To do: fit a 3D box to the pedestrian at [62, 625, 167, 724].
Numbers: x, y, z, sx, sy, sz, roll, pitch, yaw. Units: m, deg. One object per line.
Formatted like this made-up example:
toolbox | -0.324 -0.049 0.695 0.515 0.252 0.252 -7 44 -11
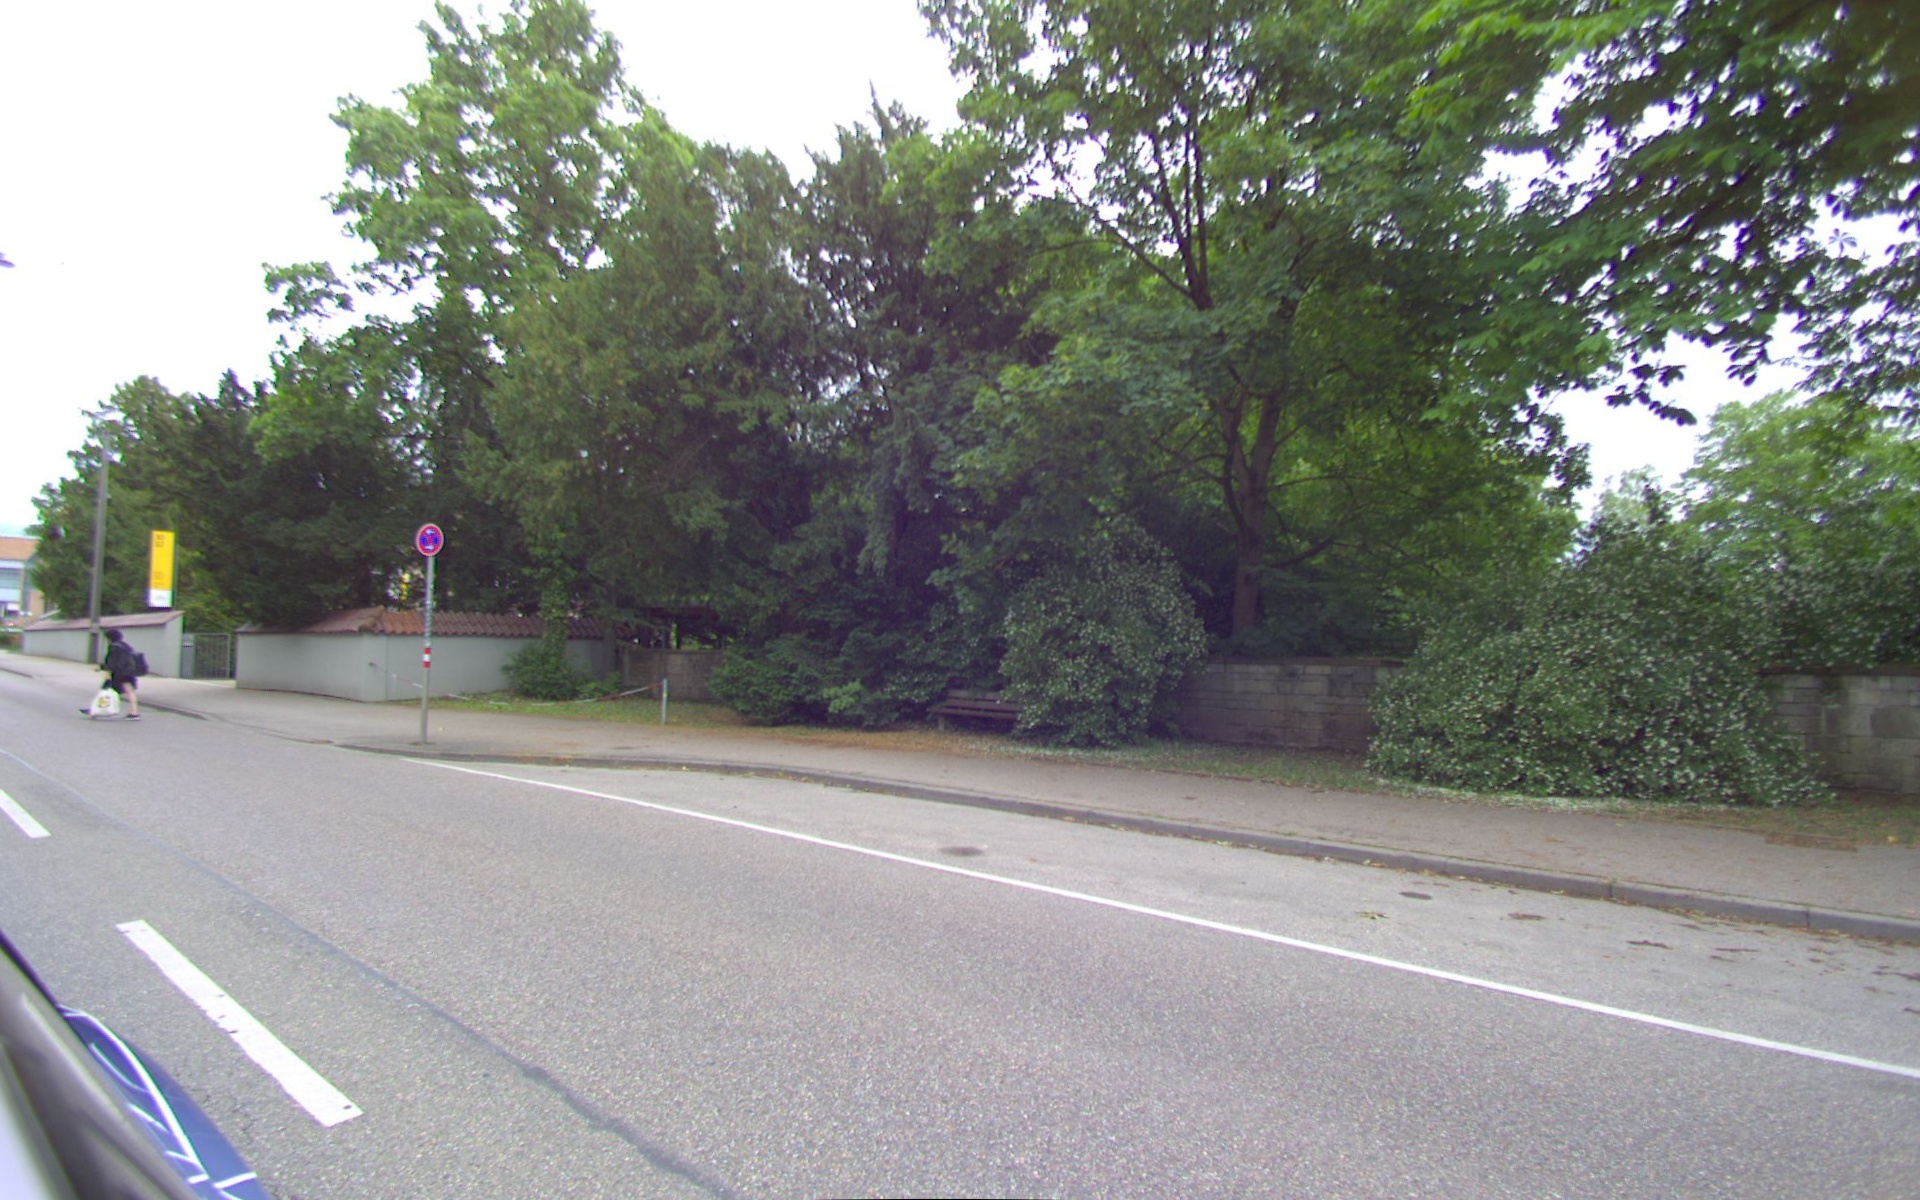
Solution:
pedestrian | -14.188 1.245 17.015 0.888 1.572 0.931 4 -4 -11
